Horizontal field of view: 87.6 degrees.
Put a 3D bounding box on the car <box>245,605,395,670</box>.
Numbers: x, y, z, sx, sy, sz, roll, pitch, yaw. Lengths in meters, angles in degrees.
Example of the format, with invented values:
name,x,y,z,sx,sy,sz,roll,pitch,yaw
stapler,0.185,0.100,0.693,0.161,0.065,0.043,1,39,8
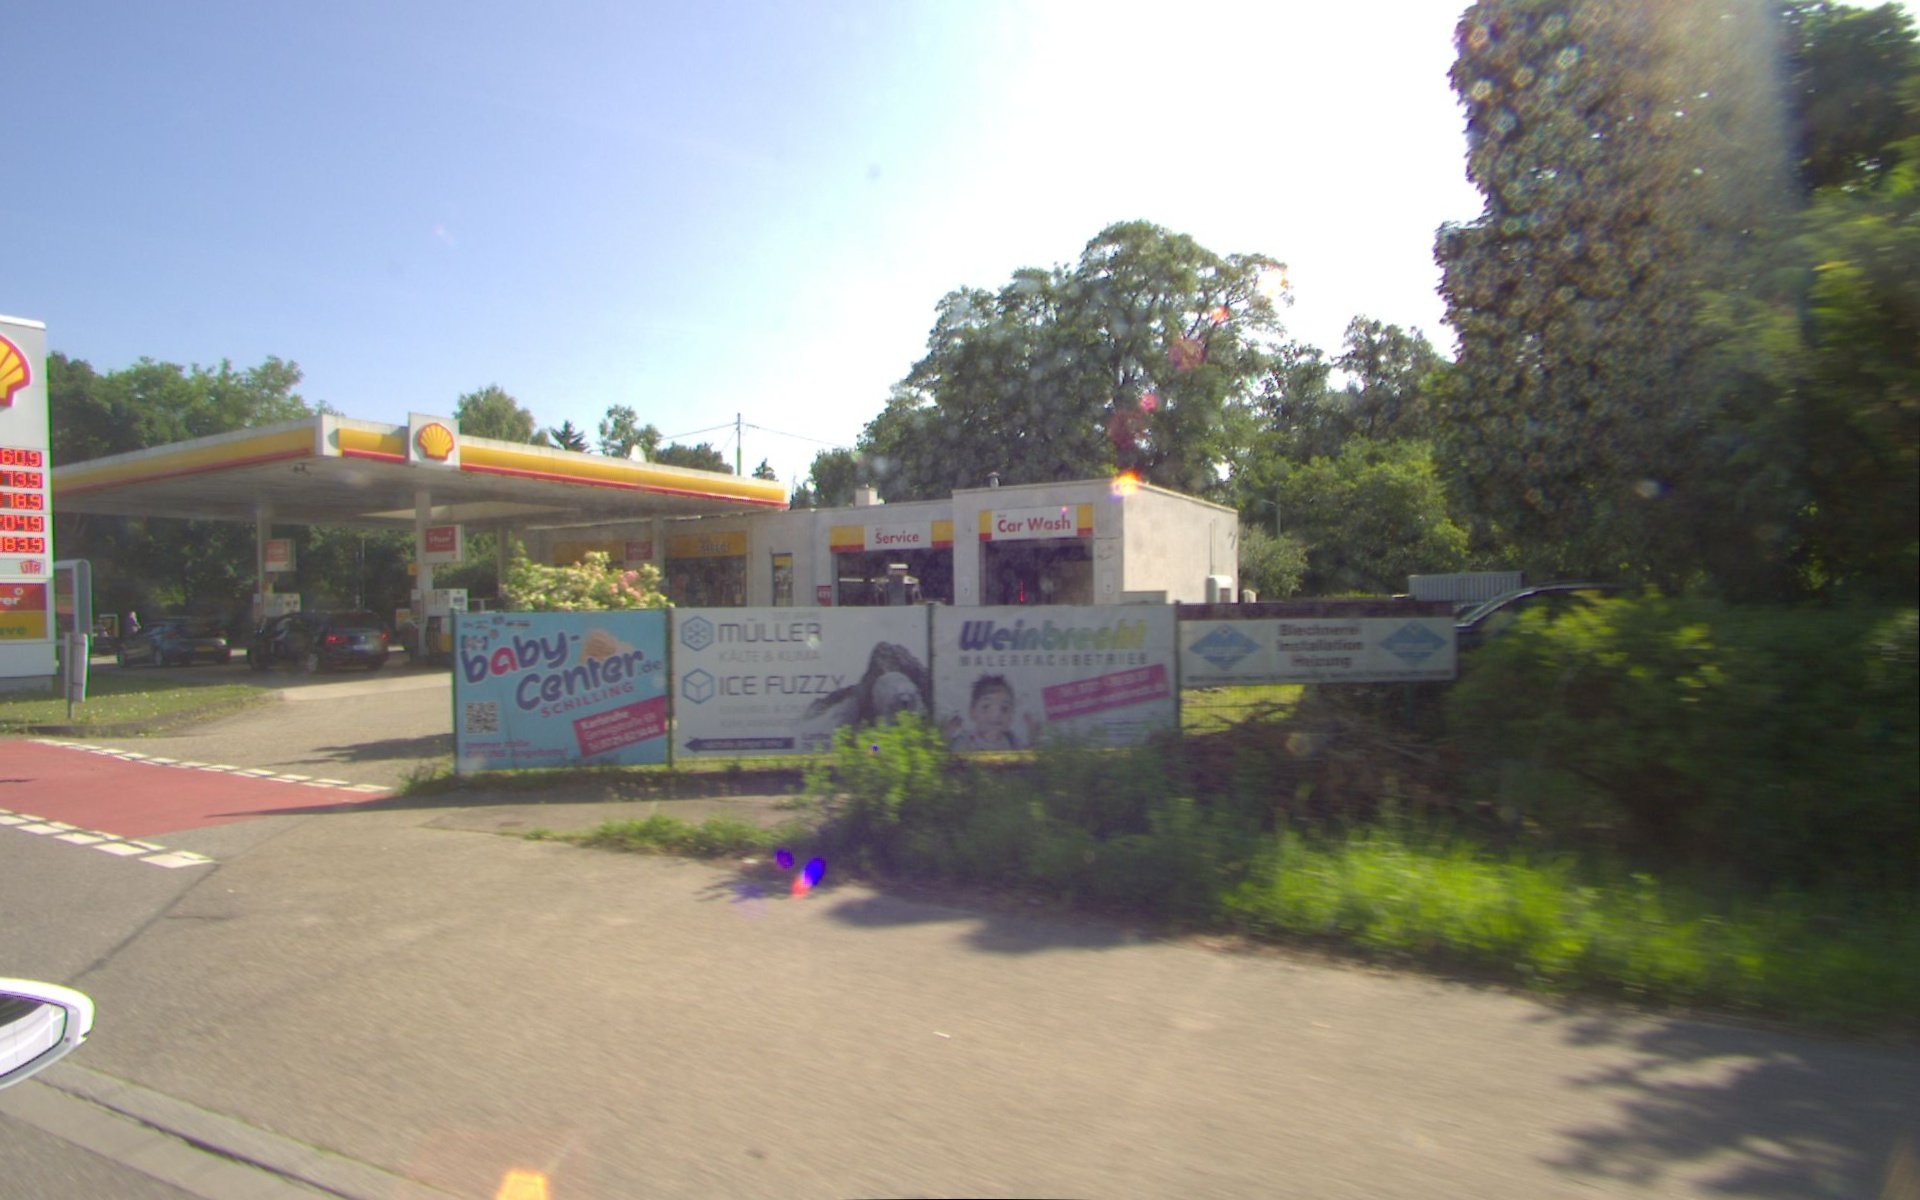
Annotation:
name,x,y,z,sx,sy,sz,roll,pitch,yaw
car,-16.966,0.953,26.542,3.819,1.599,1.757,-1,0,29

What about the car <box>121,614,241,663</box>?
name,x,y,z,sx,sy,sz,roll,pitch,yaw
car,-23.886,1.140,30.682,3.794,1.379,1.793,-1,0,34

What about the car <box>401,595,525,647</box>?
name,x,y,z,sx,sy,sz,roll,pitch,yaw
car,-18.696,0.764,37.606,4.708,1.862,1.849,-1,0,29

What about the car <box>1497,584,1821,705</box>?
name,x,y,z,sx,sy,sz,roll,pitch,yaw
car,10.435,0.630,15.329,3.879,1.650,1.677,-1,0,29

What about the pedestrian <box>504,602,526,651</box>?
name,x,y,z,sx,sy,sz,roll,pitch,yaw
pedestrian,-15.129,0.904,34.052,0.469,1.653,0.498,0,1,34

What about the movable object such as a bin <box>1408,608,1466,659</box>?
name,x,y,z,sx,sy,sz,roll,pitch,yaw
movable object such as a bin,12.691,0.869,26.671,0.849,1.307,1.234,-1,0,-7

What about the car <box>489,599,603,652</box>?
name,x,y,z,sx,sy,sz,roll,pitch,yaw
car,-14.467,0.869,34.949,3.946,1.750,1.822,-1,0,35

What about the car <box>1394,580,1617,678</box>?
name,x,y,z,sx,sy,sz,roll,pitch,yaw
car,11.305,0.633,20.969,3.881,1.816,1.676,-4,-1,29

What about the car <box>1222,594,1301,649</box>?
name,x,y,z,sx,sy,sz,roll,pitch,yaw
car,9.435,0.692,31.175,1.700,1.595,3.379,-1,-2,29

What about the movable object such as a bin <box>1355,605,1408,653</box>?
name,x,y,z,sx,sy,sz,roll,pitch,yaw
movable object such as a bin,12.152,0.835,28.906,0.834,1.342,1.233,-1,0,-16

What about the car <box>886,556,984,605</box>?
name,x,y,z,sx,sy,sz,roll,pitch,yaw
car,-0.843,-0.653,36.201,1.628,1.505,3.980,-1,-2,32

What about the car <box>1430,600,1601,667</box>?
name,x,y,z,sx,sy,sz,roll,pitch,yaw
car,13.254,0.772,23.973,3.460,1.458,1.674,-1,2,32

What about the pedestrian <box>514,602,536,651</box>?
name,x,y,z,sx,sy,sz,roll,pitch,yaw
pedestrian,-14.568,0.872,33.547,0.469,1.614,0.498,0,1,34
